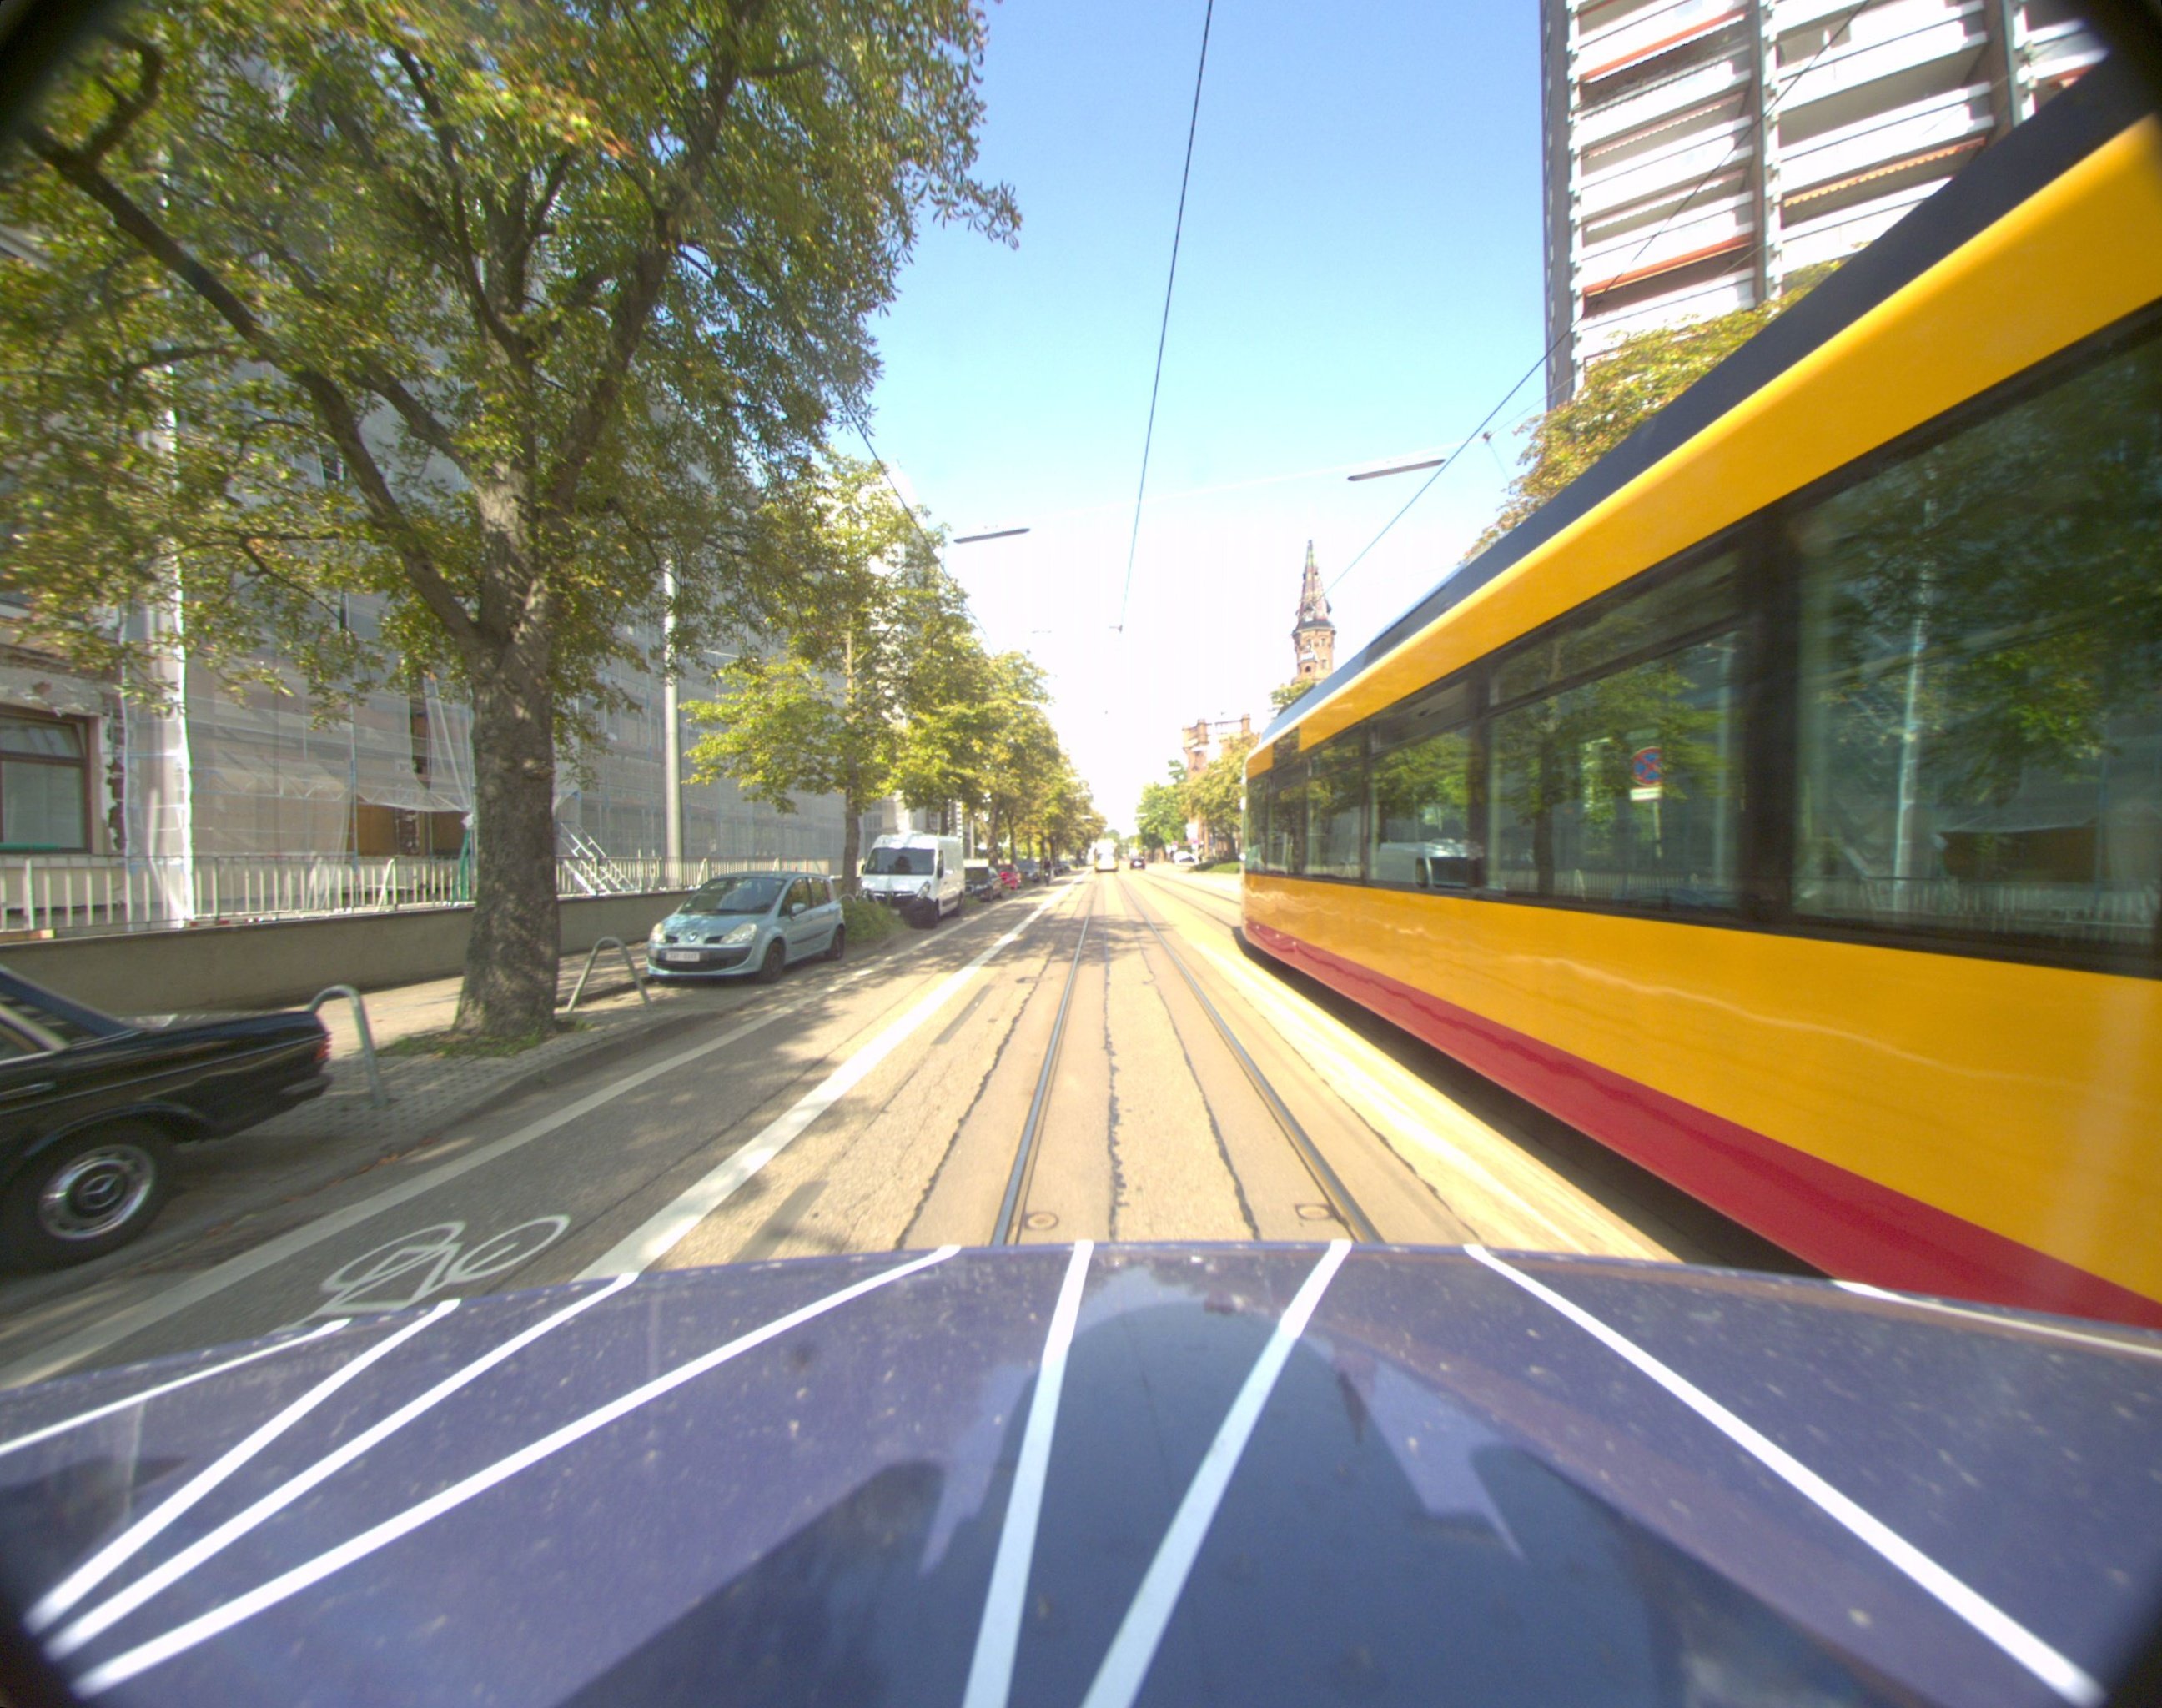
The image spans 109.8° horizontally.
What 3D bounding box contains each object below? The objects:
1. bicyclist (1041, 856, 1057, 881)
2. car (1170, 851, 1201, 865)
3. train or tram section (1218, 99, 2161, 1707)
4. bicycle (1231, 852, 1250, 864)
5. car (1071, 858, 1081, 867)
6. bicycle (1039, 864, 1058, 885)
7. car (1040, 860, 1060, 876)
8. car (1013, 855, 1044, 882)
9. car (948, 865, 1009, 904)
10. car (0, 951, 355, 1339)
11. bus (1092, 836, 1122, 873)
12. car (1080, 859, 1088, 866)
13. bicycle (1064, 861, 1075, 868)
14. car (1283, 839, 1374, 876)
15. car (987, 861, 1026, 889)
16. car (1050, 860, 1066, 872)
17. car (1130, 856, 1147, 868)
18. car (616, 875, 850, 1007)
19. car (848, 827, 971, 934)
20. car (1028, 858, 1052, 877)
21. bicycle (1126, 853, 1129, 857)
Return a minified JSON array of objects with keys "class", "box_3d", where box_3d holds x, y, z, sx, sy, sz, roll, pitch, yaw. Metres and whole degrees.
[{"class":"bicyclist","box_3d":[-1.880,0.849,45.073,0.788,1.461,1.116,-2,0,4]},{"class":"car","box_3d":[15.777,0.569,114.673,4.407,1.636,1.957,-6,0,3]},{"class":"train or tram section","box_3d":[3.412,0.076,4.800,2.735,2.877,15.456,-2,0,2]},{"class":"bicycle","box_3d":[16.162,0.422,76.895,1.809,1.068,0.420,-7,2,-20]},{"class":"car","box_3d":[-0.896,1.534,136.303,1.745,1.477,4.438,0,-1,1]},{"class":"bicycle","box_3d":[-1.892,1.175,44.634,0.788,1.138,2.305,-2,0,4]},{"class":"car","box_3d":[-3.039,1.357,75.140,1.650,1.502,3.779,0,0,2]},{"class":"car","box_3d":[-3.593,0.998,52.231,1.758,1.681,4.396,-3,-1,0]},{"class":"car","box_3d":[-4.144,1.202,31.372,1.620,1.366,4.828,-1,0,3]},{"class":"car","box_3d":[-5.225,1.249,2.120,1.757,1.369,4.719,0,0,2]},{"class":"bus","box_3d":[2.971,0.064,84.619,2.900,3.771,9.321,-2,0,4]},{"class":"car","box_3d":[0.690,1.977,176.664,1.566,1.433,3.564,1,0,-1]},{"class":"bicycle","box_3d":[-1.751,1.619,118.334,1.773,1.057,0.796,0,0,0]},{"class":"car","box_3d":[11.931,0.170,36.639,4.005,1.470,1.786,-4,0,-28]},{"class":"car","box_3d":[-4.059,1.127,41.918,1.620,1.405,4.001,-1,0,2]},{"class":"car","box_3d":[-2.646,1.365,87.458,1.650,1.420,4.085,0,0,1]},{"class":"car","box_3d":[6.948,0.932,92.280,1.833,1.368,4.513,-2,0,1]},{"class":"car","box_3d":[-5.048,1.171,11.666,1.668,1.607,3.878,-1,-1,2]},{"class":"car","box_3d":[-4.580,0.647,21.235,2.087,2.537,5.501,1,0,1]},{"class":"car","box_3d":[-3.341,1.093,62.630,1.579,1.476,3.739,0,0,2]},{"class":"bicycle","box_3d":[13.284,0.262,217.135,0.699,1.151,2.038,-2,0,0]}]
